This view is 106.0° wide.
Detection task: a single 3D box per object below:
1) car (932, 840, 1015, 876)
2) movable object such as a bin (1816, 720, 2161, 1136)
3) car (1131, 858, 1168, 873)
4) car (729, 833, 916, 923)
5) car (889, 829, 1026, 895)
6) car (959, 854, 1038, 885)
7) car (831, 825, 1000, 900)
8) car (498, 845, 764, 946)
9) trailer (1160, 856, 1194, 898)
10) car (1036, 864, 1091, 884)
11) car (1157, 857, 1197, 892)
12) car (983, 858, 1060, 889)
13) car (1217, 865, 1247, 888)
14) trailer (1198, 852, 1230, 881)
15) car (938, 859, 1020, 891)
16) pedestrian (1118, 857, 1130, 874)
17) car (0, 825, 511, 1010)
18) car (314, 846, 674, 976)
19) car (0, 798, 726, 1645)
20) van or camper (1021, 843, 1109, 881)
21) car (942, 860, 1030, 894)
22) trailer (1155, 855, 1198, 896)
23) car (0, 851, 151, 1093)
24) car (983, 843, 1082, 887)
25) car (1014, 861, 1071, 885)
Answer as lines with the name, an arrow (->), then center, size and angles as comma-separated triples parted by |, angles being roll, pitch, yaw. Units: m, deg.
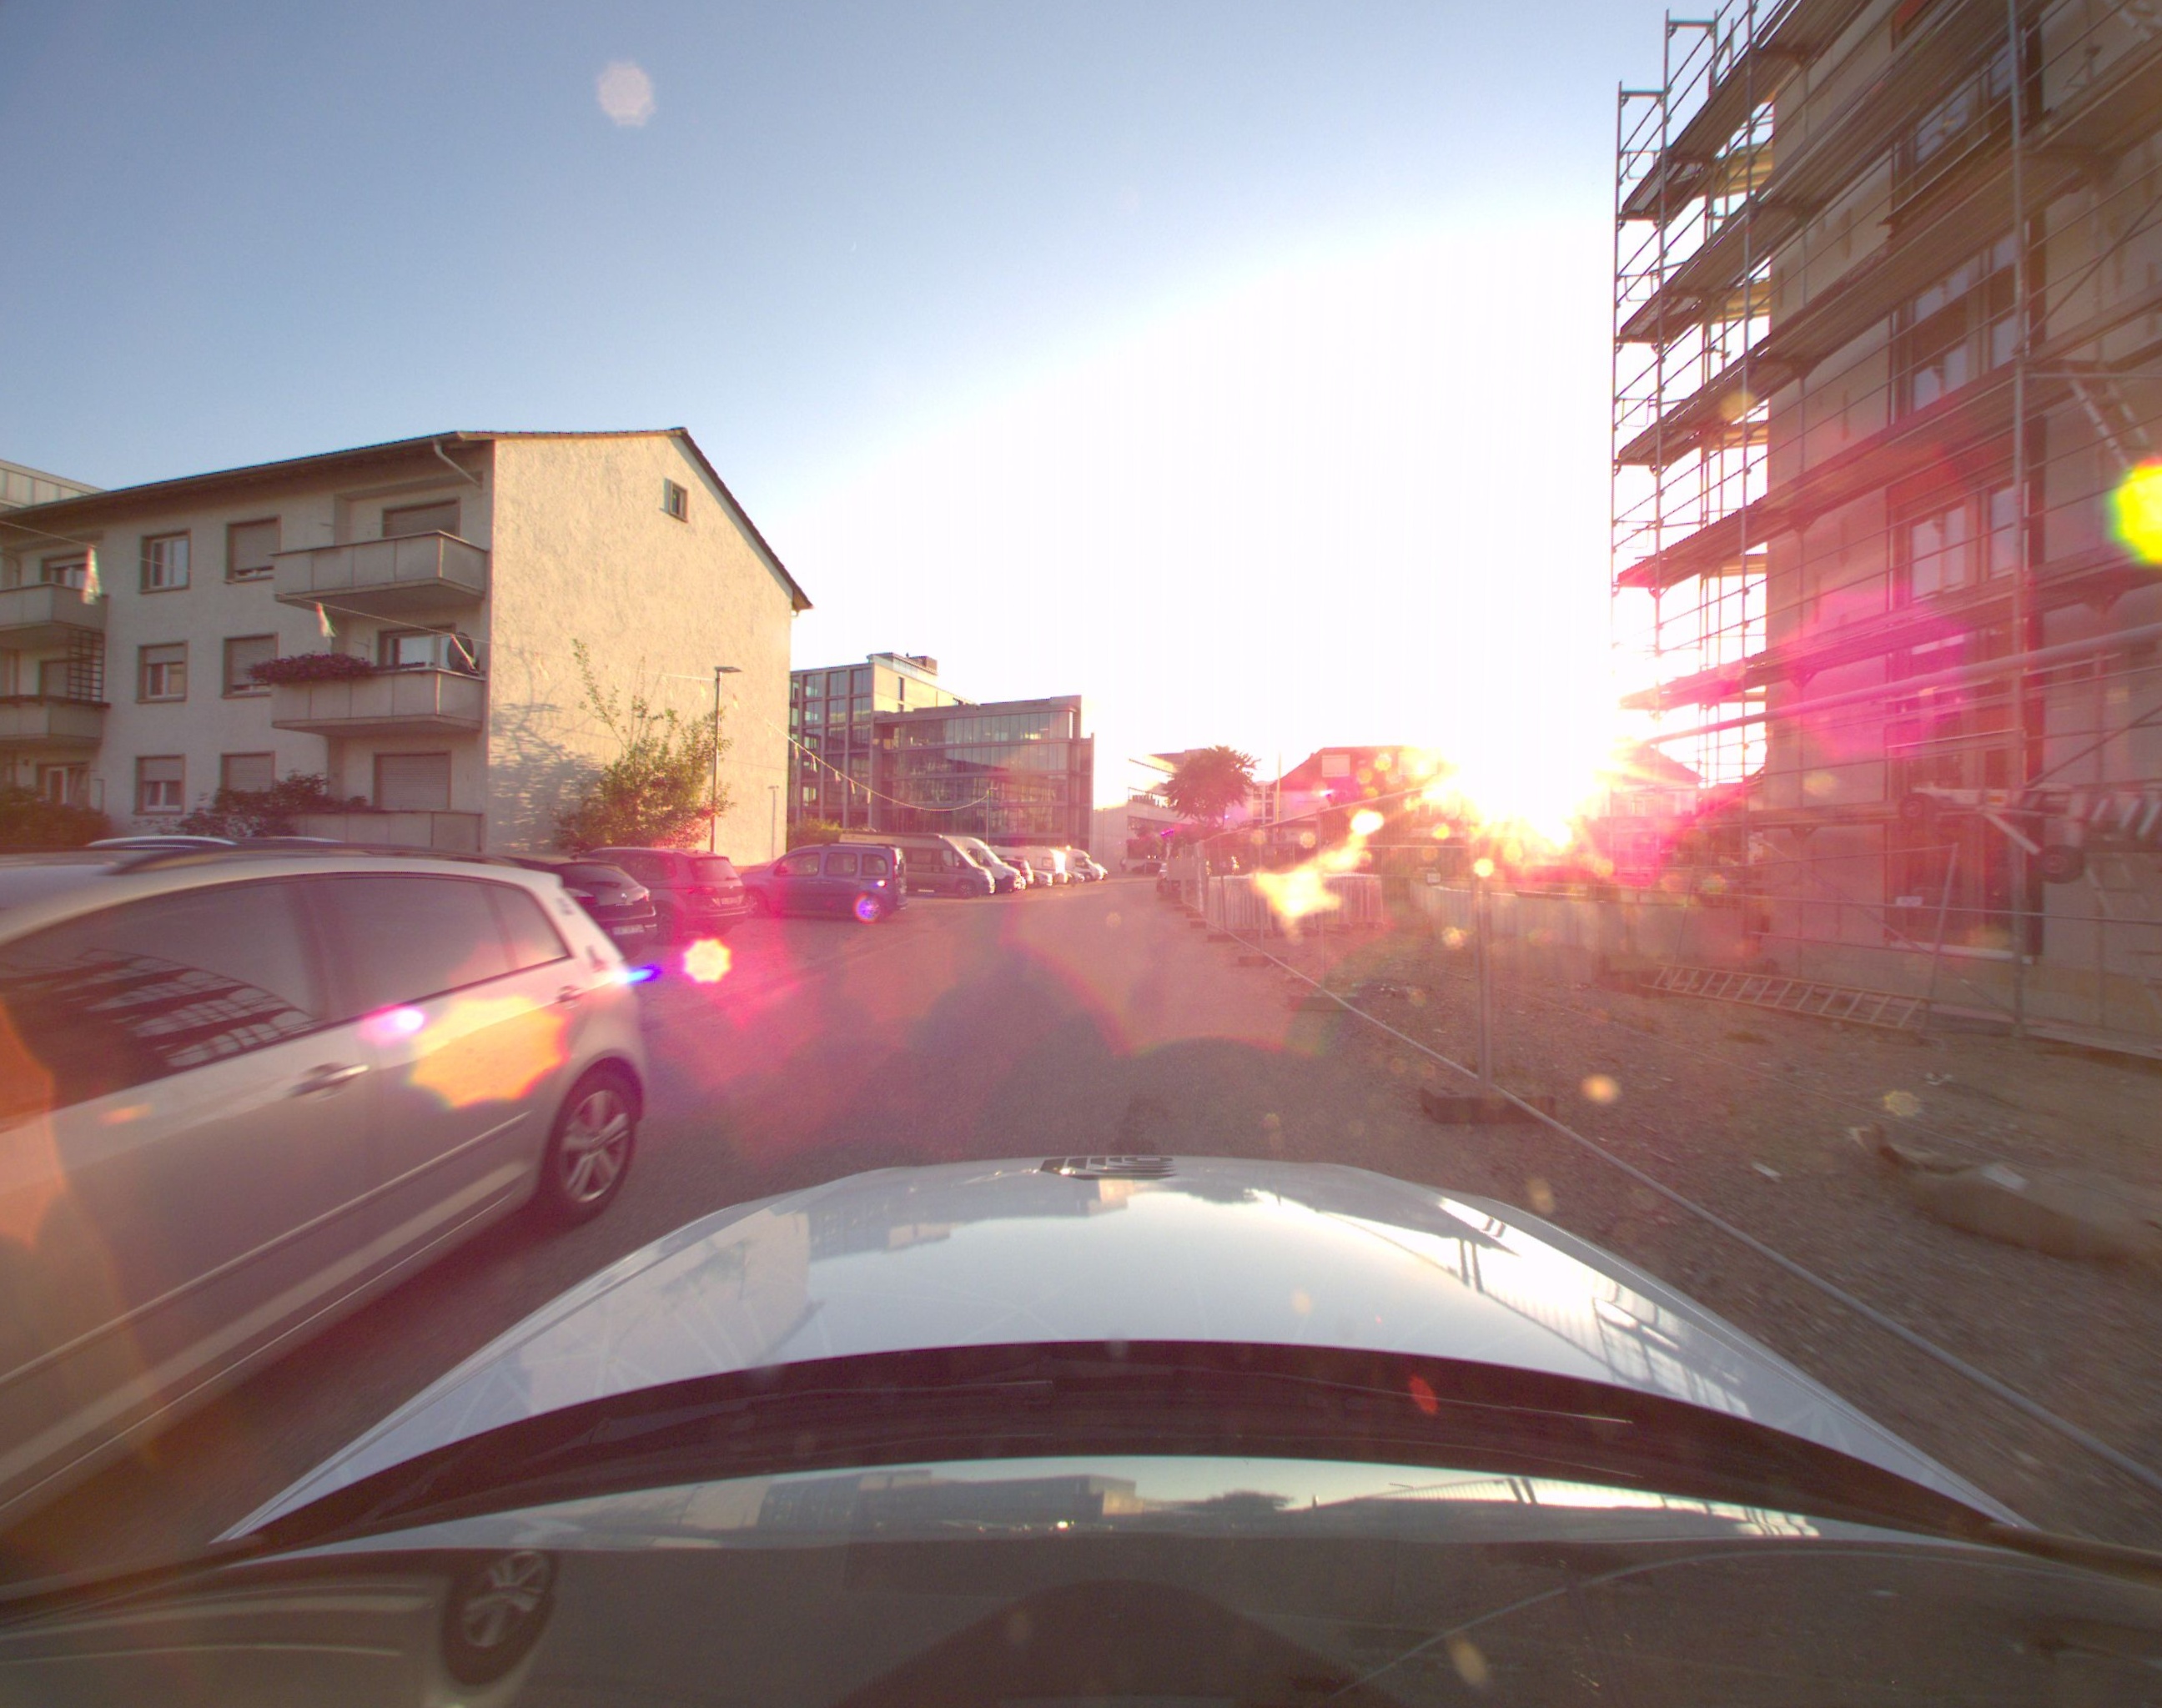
car -> -8.696, 0.332, 65.854 | 6.193, 2.673, 2.233 | 2, 0, 18
movable object such as a bin -> 6.817, 0.392, 2.462 | 2.056, 2.273, 8.375 | 0, 0, 4
car -> 7.512, 1.281, 89.588 | 3.704, 1.482, 1.778 | 2, 1, 18
car -> -6.100, 0.558, 19.631 | 3.920, 1.911, 1.745 | 2, 0, -6
car -> -5.644, 0.359, 37.667 | 5.797, 2.713, 2.054 | 3, 0, 5
car -> -4.557, 0.861, 44.982 | 3.896, 1.591, 1.755 | 1, 0, 16
car -> -6.714, 0.351, 33.621 | 6.366, 2.713, 2.113 | 3, -2, 0
car -> -7.842, 0.665, 14.325 | 3.900, 1.580, 1.648 | 1, 0, 11
trailer -> 3.996, 0.930, 34.093 | 1.245, 1.665, 2.806 | -1, -1, 4
car -> -1.278, 1.503, 61.242 | 3.783, 1.328, 1.698 | 2, 0, 11
car -> 5.190, 1.036, 43.559 | 1.795, 1.725, 4.941 | -2, -1, 9
car -> -3.473, 1.119, 47.886 | 4.095, 1.590, 1.755 | 3, 0, 16
car -> 14.868, 2.168, 79.854 | 2.048, 2.095, 4.897 | 0, 0, 21
trailer -> 10.555, 0.940, 64.356 | 2.050, 2.211, 5.241 | 0, 0, 13
car -> -5.356, 1.119, 43.018 | 3.904, 1.591, 1.751 | 1, -2, 7
pedestrian -> 4.808, 1.261, 91.007 | 0.906, 1.850, 0.847 | 0, 0, -35
car -> -8.520, 0.533, 8.369 | 4.070, 1.627, 1.824 | 0, 2, 5
car -> -7.795, 0.701, 10.953 | 3.900, 1.516, 1.648 | 1, -1, 11
car -> -2.873, 0.698, 2.400 | 1.664, 1.620, 4.286 | 1, 0, 1
van or camper -> -1.312, 0.654, 66.618 | 6.694, 2.898, 2.417 | 1, 0, 13
car -> -4.627, 1.106, 39.974 | 3.903, 1.507, 1.794 | 1, -1, 8
trailer -> 4.492, 0.949, 37.840 | 1.720, 1.777, 4.949 | -1, -1, 9
car -> -8.993, 0.739, 5.508 | 3.900, 1.521, 1.815 | 2, 1, 11
car -> -3.133, 0.715, 52.841 | 5.846, 2.534, 2.420 | 2, -2, 14
car -> -2.660, 1.283, 56.310 | 3.607, 1.519, 1.710 | 2, 0, 9
